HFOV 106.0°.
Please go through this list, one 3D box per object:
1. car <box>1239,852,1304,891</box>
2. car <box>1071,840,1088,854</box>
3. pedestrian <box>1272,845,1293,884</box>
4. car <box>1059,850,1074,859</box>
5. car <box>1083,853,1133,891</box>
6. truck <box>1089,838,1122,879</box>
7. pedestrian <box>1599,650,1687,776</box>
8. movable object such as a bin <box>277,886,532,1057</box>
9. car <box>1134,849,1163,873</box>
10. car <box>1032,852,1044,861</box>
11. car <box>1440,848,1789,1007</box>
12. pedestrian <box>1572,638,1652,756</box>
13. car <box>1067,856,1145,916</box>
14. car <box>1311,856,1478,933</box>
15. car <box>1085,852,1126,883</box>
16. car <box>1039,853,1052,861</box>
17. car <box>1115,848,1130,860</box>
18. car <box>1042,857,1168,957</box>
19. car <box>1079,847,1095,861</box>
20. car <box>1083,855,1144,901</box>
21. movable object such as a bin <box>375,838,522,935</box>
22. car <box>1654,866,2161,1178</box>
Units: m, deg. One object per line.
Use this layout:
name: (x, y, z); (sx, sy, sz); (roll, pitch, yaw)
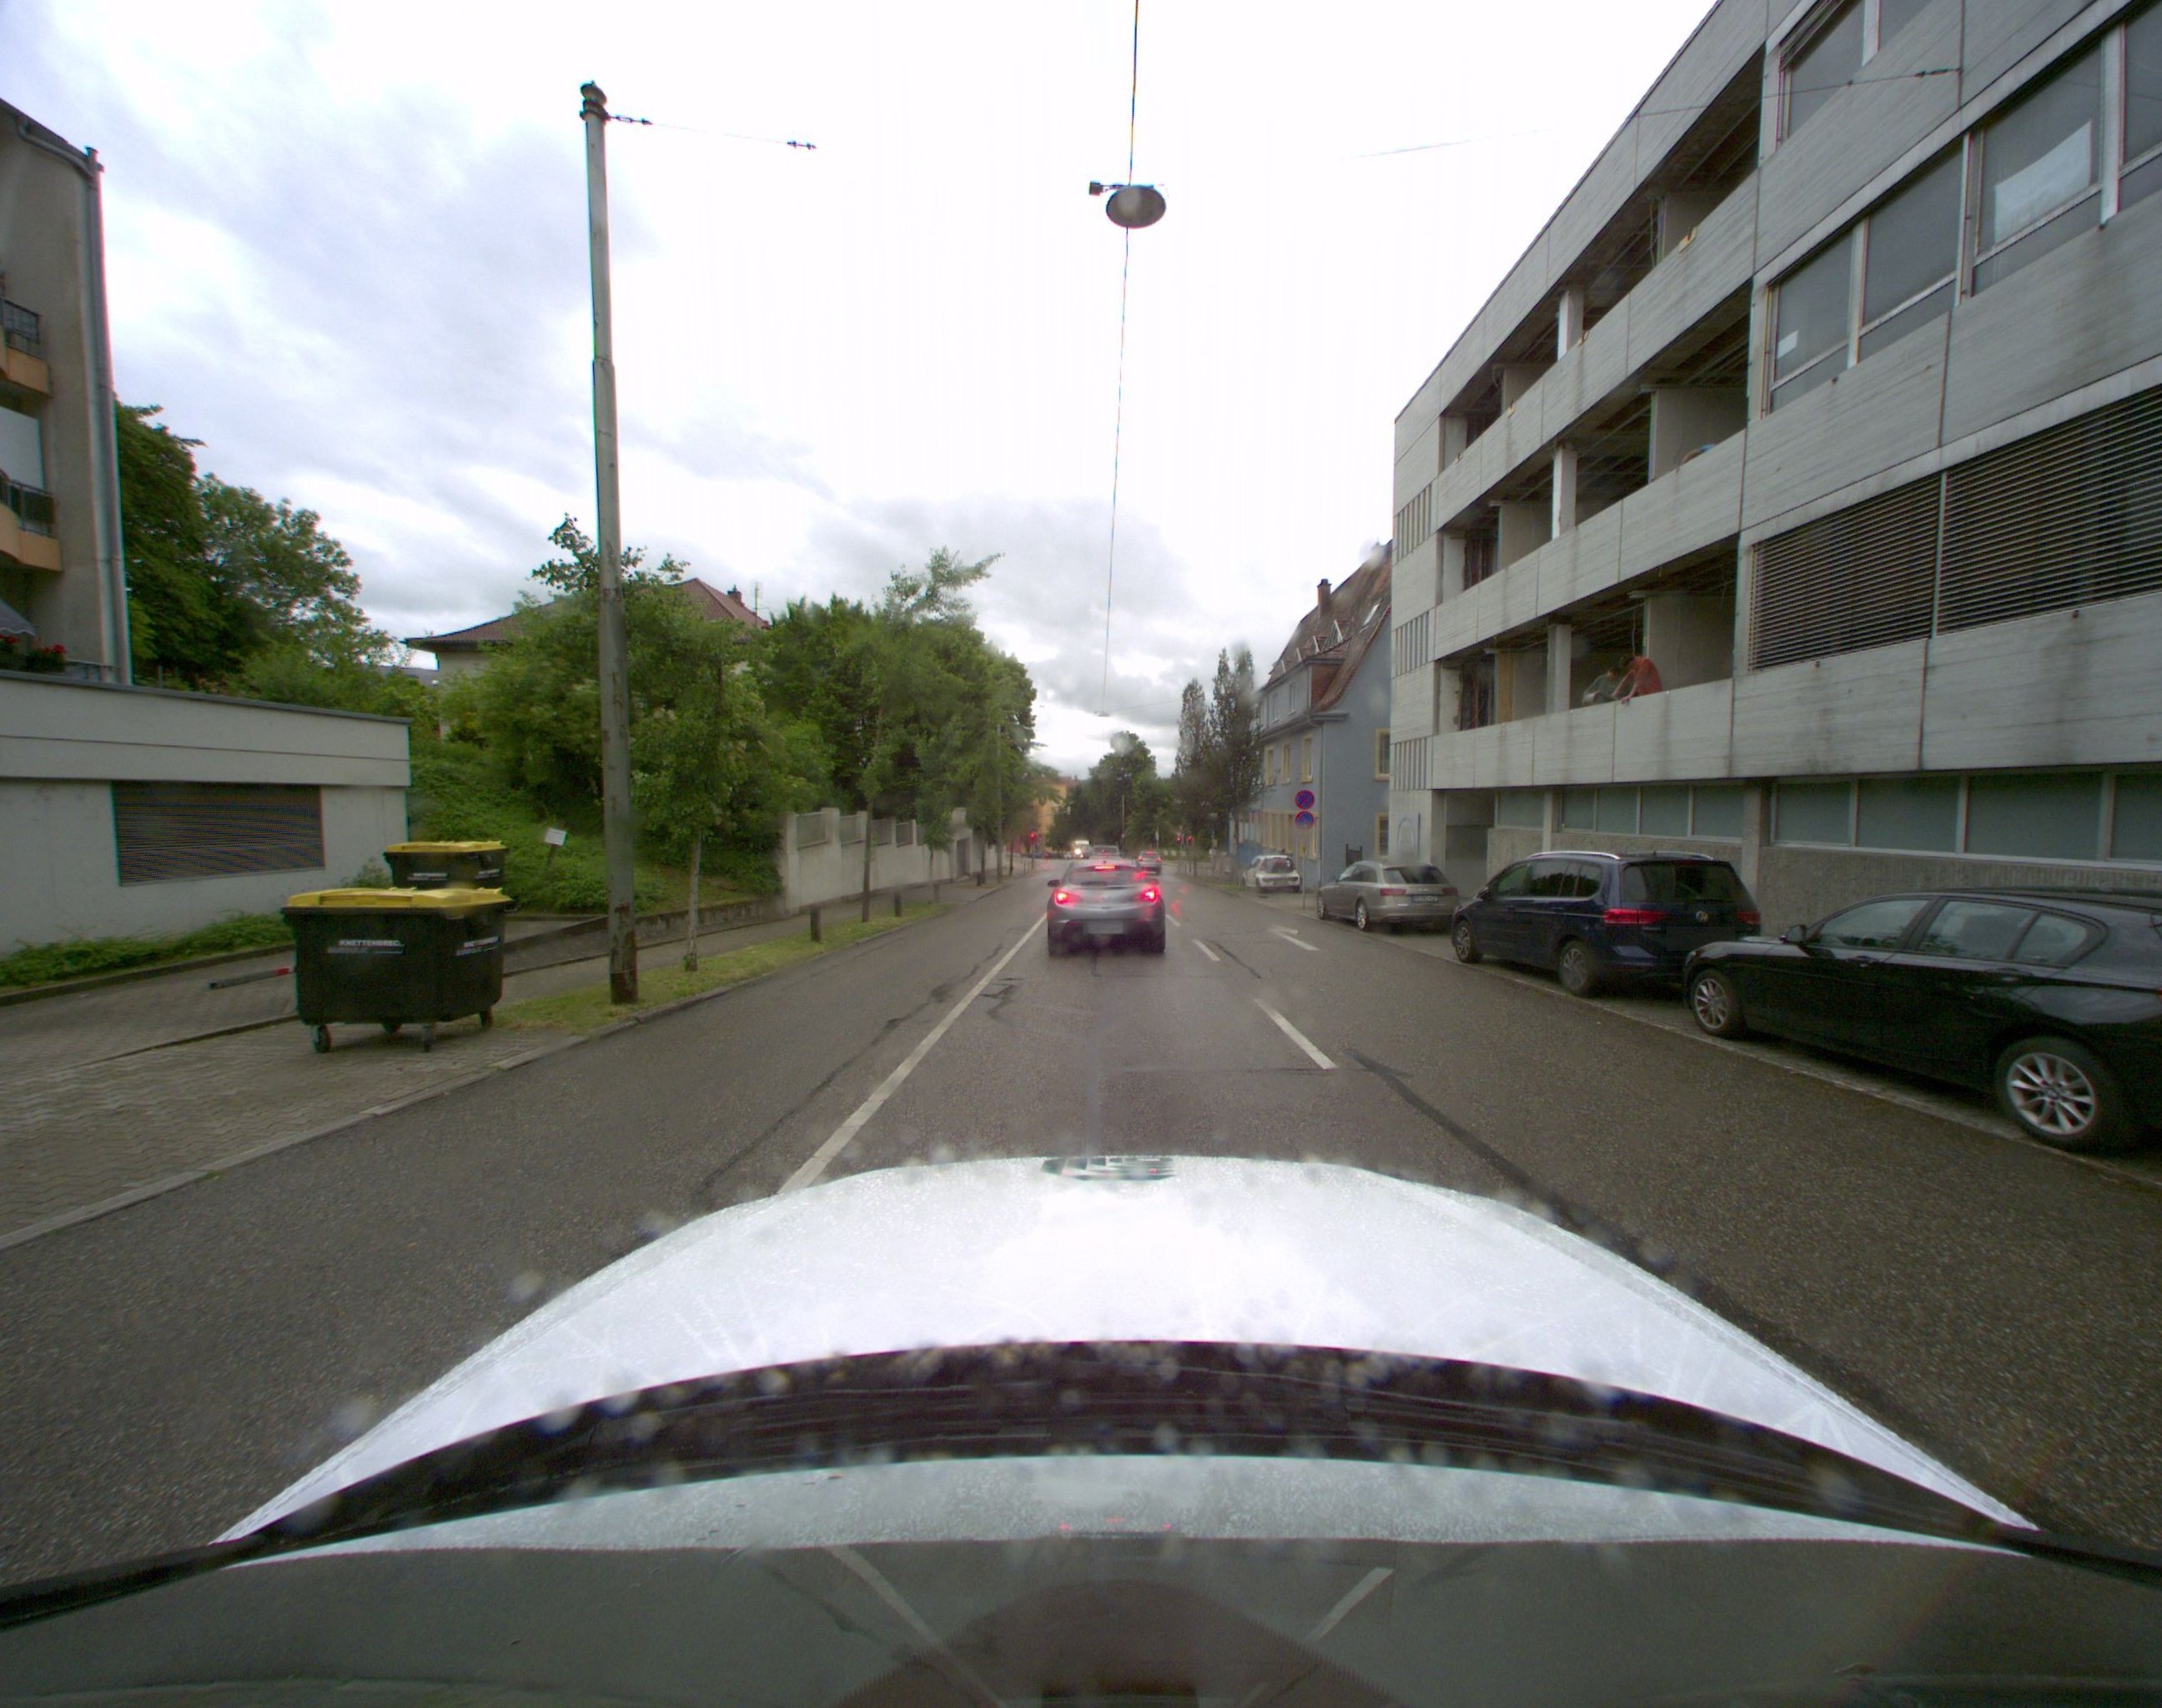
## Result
car: (7.615, 0.677, 32.921); (1.717, 1.448, 3.880); (-1, 0, 0)
car: (-0.197, -0.880, 104.704); (1.721, 1.638, 3.870); (-1, 0, -7)
pedestrian: (9.091, 0.466, 36.823); (0.780, 1.729, 0.651); (1, 0, 1)
car: (-2.625, 0.075, 143.873); (1.726, 1.543, 3.858); (-1, 0, -16)
car: (1.070, 0.702, 33.804); (1.955, 1.448, 4.305); (1, 0, 0)
truck: (1.504, 0.248, 51.470); (1.955, 2.429, 4.936); (1, 0, 1)
pedestrian: (9.636, -2.398, 14.001); (0.904, 2.014, 0.861); (0, -1, 1)
movable object such as a bin: (-5.880, 0.974, 7.204); (1.296, 1.306, 1.153); (0, 1, -7)
car: (4.886, 0.493, 59.431); (1.717, 1.714, 3.879); (-1, 0, 0)
car: (-8.118, 0.474, 153.422); (1.722, 1.638, 3.867); (1, -1, -9)
car: (6.398, 0.751, 10.443); (1.723, 1.599, 4.160); (-1, 0, 0)
pedestrian: (9.819, -2.881, 15.093); (0.904, 2.014, 0.861); (0, -1, 1)
car: (0.657, 0.819, 22.704); (1.955, 1.448, 4.305); (1, 0, 0)
car: (6.715, 0.787, 18.049); (1.956, 1.448, 4.526); (-1, 0, 0)
car: (1.189, 0.651, 41.468); (1.955, 1.448, 4.305); (1, 0, 0)
car: (-7.023, 0.568, 162.742); (1.726, 1.638, 3.858); (-1, 0, -16)
car: (5.795, -0.030, 113.231); (1.718, 1.638, 3.877); (-1, 0, -2)
car: (0.349, 0.773, 13.828); (1.831, 1.434, 3.879); (0, 0, 0)
car: (0.741, 0.018, 97.036); (1.864, 1.638, 3.880); (-1, 0, 0)
car: (1.079, 0.782, 28.420); (1.955, 1.448, 4.305); (1, 0, 0)
movable object such as a bin: (-9.934, 0.481, 12.882); (1.296, 1.363, 1.225); (0, 6, -6)
car: (6.336, 0.858, 5.806); (1.740, 1.448, 4.256); (-1, 0, 4)
